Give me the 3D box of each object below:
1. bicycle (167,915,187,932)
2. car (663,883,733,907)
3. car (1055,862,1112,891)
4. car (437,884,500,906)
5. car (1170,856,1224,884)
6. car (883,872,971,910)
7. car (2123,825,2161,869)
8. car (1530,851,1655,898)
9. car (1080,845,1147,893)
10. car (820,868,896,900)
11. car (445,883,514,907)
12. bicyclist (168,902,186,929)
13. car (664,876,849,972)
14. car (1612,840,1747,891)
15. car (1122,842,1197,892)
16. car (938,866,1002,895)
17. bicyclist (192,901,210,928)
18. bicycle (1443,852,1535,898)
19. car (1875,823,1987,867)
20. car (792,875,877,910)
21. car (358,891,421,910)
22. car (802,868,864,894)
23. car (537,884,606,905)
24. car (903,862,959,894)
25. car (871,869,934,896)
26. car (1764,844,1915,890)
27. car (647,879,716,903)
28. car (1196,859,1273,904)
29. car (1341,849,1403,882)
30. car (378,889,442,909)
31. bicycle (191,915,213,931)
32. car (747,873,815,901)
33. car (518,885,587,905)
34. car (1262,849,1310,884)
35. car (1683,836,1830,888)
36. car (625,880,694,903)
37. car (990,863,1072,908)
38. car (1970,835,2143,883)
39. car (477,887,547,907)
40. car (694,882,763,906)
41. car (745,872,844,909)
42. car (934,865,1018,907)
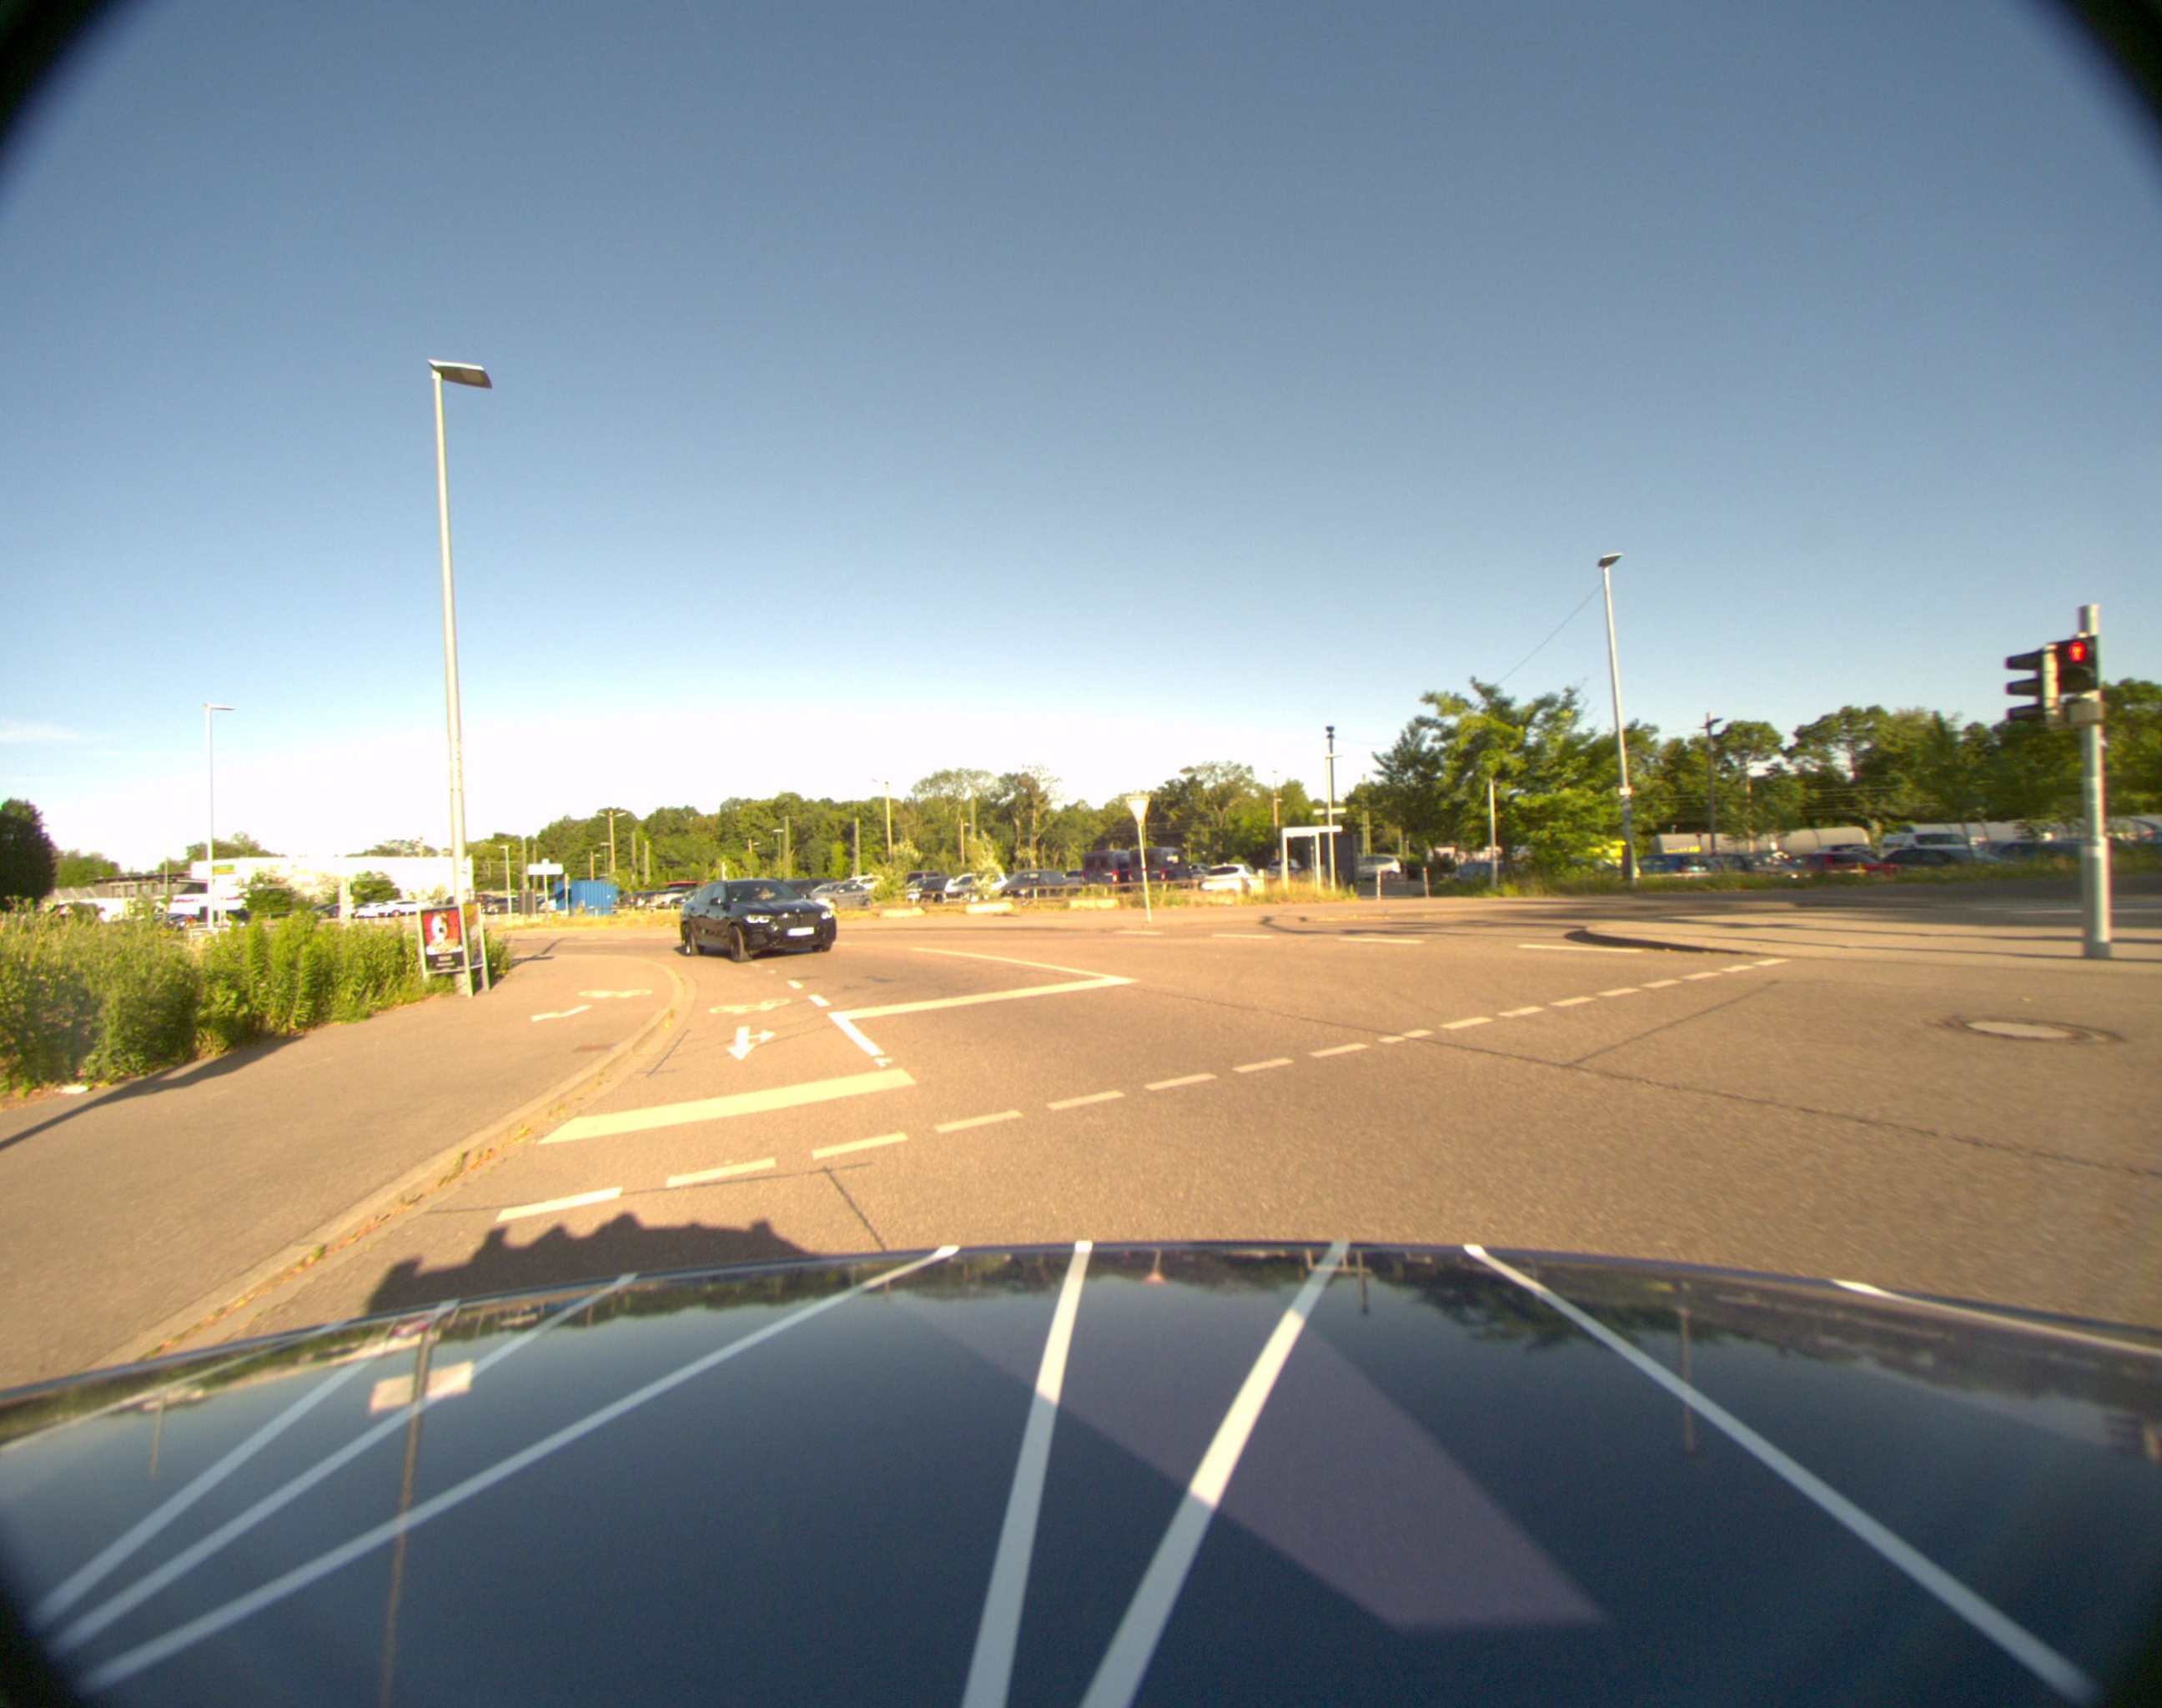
[{"bbox_3d":[-63.536,4.884,53.376,1.562,1.118,0.504,-3,0,27],"label":"bicycle"},{"bbox_3d":[-28.668,3.044,57.028,1.865,1.434,4.454,-3,0,24],"label":"car"},{"bbox_3d":[0.204,1.333,45.019,1.830,1.499,3.758,-3,0,25],"label":"car"},{"bbox_3d":[-57.471,3.839,71.331,1.865,1.767,4.082,-3,1,32],"label":"car"},{"bbox_3d":[7.191,0.950,46.787,1.982,1.490,4.210,-3,0,27],"label":"car"},{"bbox_3d":[-7.011,1.659,35.091,1.851,1.506,4.007,-3,-1,26],"label":"car"},{"bbox_3d":[46.958,-0.346,32.351,1.734,1.827,4.046,-3,0,35],"label":"car"},{"bbox_3d":[18.362,0.700,27.534,1.962,1.472,4.001,-3,0,4],"label":"car"},{"bbox_3d":[1.901,0.770,42.331,2.124,2.452,4.489,-3,0,24],"label":"car"},{"bbox_3d":[-14.764,1.963,50.565,2.035,1.685,4.709,-3,1,28],"label":"car"},{"bbox_3d":[-54.889,3.713,69.404,1.865,1.767,4.454,-3,1,32],"label":"car"},{"bbox_3d":[-63.574,4.314,53.429,0.851,1.860,0.570,-3,0,26],"label":"bicyclist"},{"bbox_3d":[-7.274,1.424,16.764,2.052,1.704,4.738,-4,1,-45],"label":"car"},{"bbox_3d":[21.831,0.409,27.946,2.012,1.655,3.852,-3,0,4],"label":"car"},{"bbox_3d":[4.400,0.645,41.523,2.396,2.502,5.521,-3,0,24],"label":"car"},{"bbox_3d":[-6.892,1.611,47.653,1.995,1.584,4.007,-3,-1,25],"label":"car"},{"bbox_3d":[-61.405,4.222,53.030,0.851,1.860,0.570,-3,0,26],"label":"bicyclist"},{"bbox_3d":[15.099,0.780,28.238,0.907,1.607,2.950,-4,0,-29],"label":"bicycle"},{"bbox_3d":[40.188,-0.432,36.107,2.194,1.827,5.035,-3,0,32],"label":"car"},{"bbox_3d":[-12.013,1.853,37.308,1.835,1.445,3.931,-3,0,21],"label":"car"},{"bbox_3d":[-68.300,4.559,75.132,1.758,1.477,4.164,-3,1,21],"label":"car"},{"bbox_3d":[-17.087,1.838,52.543,1.722,1.496,4.006,-2,1,24],"label":"car"},{"bbox_3d":[-42.967,3.368,64.146,1.865,1.369,4.453,-3,1,24],"label":"car"},{"bbox_3d":[-9.564,1.516,48.817,1.768,1.724,3.784,-3,1,19],"label":"car"},{"bbox_3d":[-11.666,1.847,49.902,1.887,1.479,3.949,-3,1,26],"label":"car"},{"bbox_3d":[26.828,0.419,27.080,1.727,1.451,4.003,-3,0,9],"label":"car"},{"bbox_3d":[-30.790,2.835,58.727,1.865,1.457,4.453,-3,1,24],"label":"car"},{"bbox_3d":[6.061,1.030,29.620,1.887,1.502,4.280,-3,0,25],"label":"car"},{"bbox_3d":[16.847,0.626,44.260,2.175,1.720,4.494,-3,0,5],"label":"car"},{"bbox_3d":[-65.939,4.421,74.721,1.823,1.538,4.303,-3,1,22],"label":"car"},{"bbox_3d":[-61.329,4.793,53.009,1.720,1.058,0.559,-3,0,27],"label":"bicycle"},{"bbox_3d":[-21.149,2.308,53.807,1.982,1.580,4.208,-3,1,24],"label":"car"},{"bbox_3d":[-45.149,3.483,65.006,1.865,1.369,4.453,-3,1,24],"label":"car"},{"bbox_3d":[12.087,0.720,44.562,1.982,1.798,4.209,-3,0,25],"label":"car"},{"bbox_3d":[24.132,0.275,27.384,1.839,1.673,4.001,-3,0,4],"label":"car"},{"bbox_3d":[-33.169,2.966,59.925,1.865,1.421,4.453,-3,1,24],"label":"car"},{"bbox_3d":[-2.053,1.311,32.793,1.869,1.645,4.150,-3,0,21],"label":"car"},{"bbox_3d":[34.107,0.140,26.769,1.995,1.466,4.006,-3,0,23],"label":"car"},{"bbox_3d":[-50.275,3.783,67.198,1.917,1.436,4.454,-3,1,31],"label":"car"},{"bbox_3d":[-26.020,2.954,56.246,1.865,1.369,4.453,-3,1,24],"label":"car"},{"bbox_3d":[-14.476,1.821,38.698,2.064,1.732,4.547,-3,-3,24],"label":"car"},{"bbox_3d":[-4.602,1.384,33.884,1.883,1.601,4.063,-3,-1,21],"label":"car"}]
